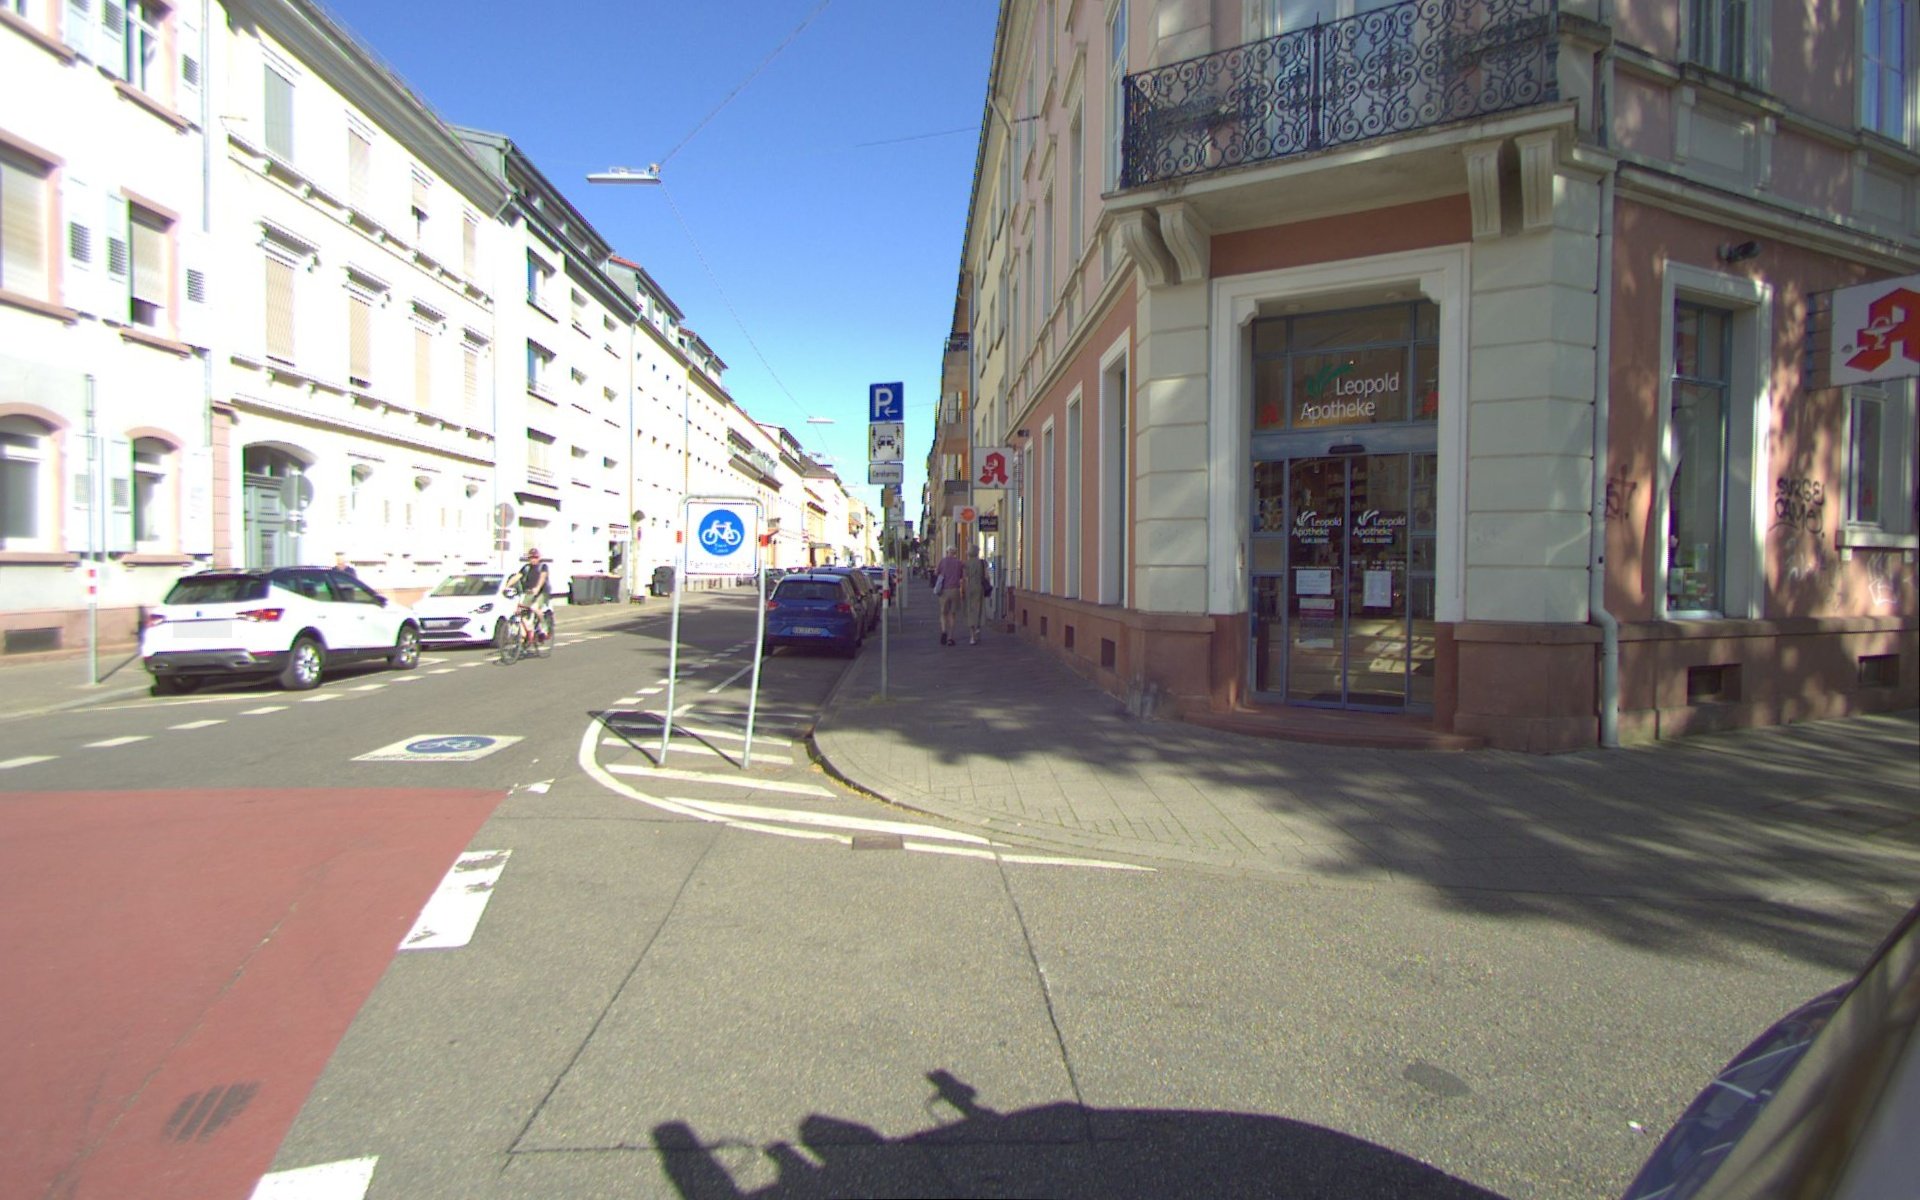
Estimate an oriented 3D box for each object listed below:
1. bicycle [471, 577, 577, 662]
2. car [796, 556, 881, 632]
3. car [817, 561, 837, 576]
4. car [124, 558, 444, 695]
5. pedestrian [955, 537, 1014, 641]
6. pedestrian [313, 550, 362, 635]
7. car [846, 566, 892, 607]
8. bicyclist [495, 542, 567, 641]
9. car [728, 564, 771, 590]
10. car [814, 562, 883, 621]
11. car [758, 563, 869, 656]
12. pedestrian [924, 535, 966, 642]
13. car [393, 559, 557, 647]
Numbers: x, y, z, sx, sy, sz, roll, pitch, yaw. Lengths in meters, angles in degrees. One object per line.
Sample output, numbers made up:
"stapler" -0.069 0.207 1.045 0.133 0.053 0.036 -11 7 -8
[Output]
"bicycle" -6.988 0.273 16.331 0.661 1.214 1.922 0 3 8
"car" -2.826 -0.202 24.197 1.674 1.555 3.643 3 3 -3
"car" -12.762 -3.038 97.211 1.674 1.315 3.642 0 2 -2
"car" -8.980 0.235 13.970 1.614 1.560 4.386 -1 2 -2
"pedestrian" 0.438 -0.199 18.453 0.814 1.786 0.753 -4 0 -9
"pedestrian" -12.103 -0.156 19.696 0.573 1.620 0.640 0 1 -3
"car" -3.722 -0.600 41.867 1.674 1.451 3.643 3 3 -3
"bicyclist" -6.962 -0.150 16.458 0.628 1.566 1.023 0 1 9
"car" -11.190 -1.242 54.063 1.674 1.315 3.642 0 2 -2
"car" -3.129 -0.304 28.920 1.674 1.451 3.643 3 3 -3
"car" -2.658 0.098 19.044 1.674 1.451 3.643 3 3 -3
"pedestrian" -0.274 -0.225 18.393 0.559 1.879 0.708 -3 2 -12
"car" -9.499 0.001 20.132 1.600 1.560 3.642 -1 2 -2
